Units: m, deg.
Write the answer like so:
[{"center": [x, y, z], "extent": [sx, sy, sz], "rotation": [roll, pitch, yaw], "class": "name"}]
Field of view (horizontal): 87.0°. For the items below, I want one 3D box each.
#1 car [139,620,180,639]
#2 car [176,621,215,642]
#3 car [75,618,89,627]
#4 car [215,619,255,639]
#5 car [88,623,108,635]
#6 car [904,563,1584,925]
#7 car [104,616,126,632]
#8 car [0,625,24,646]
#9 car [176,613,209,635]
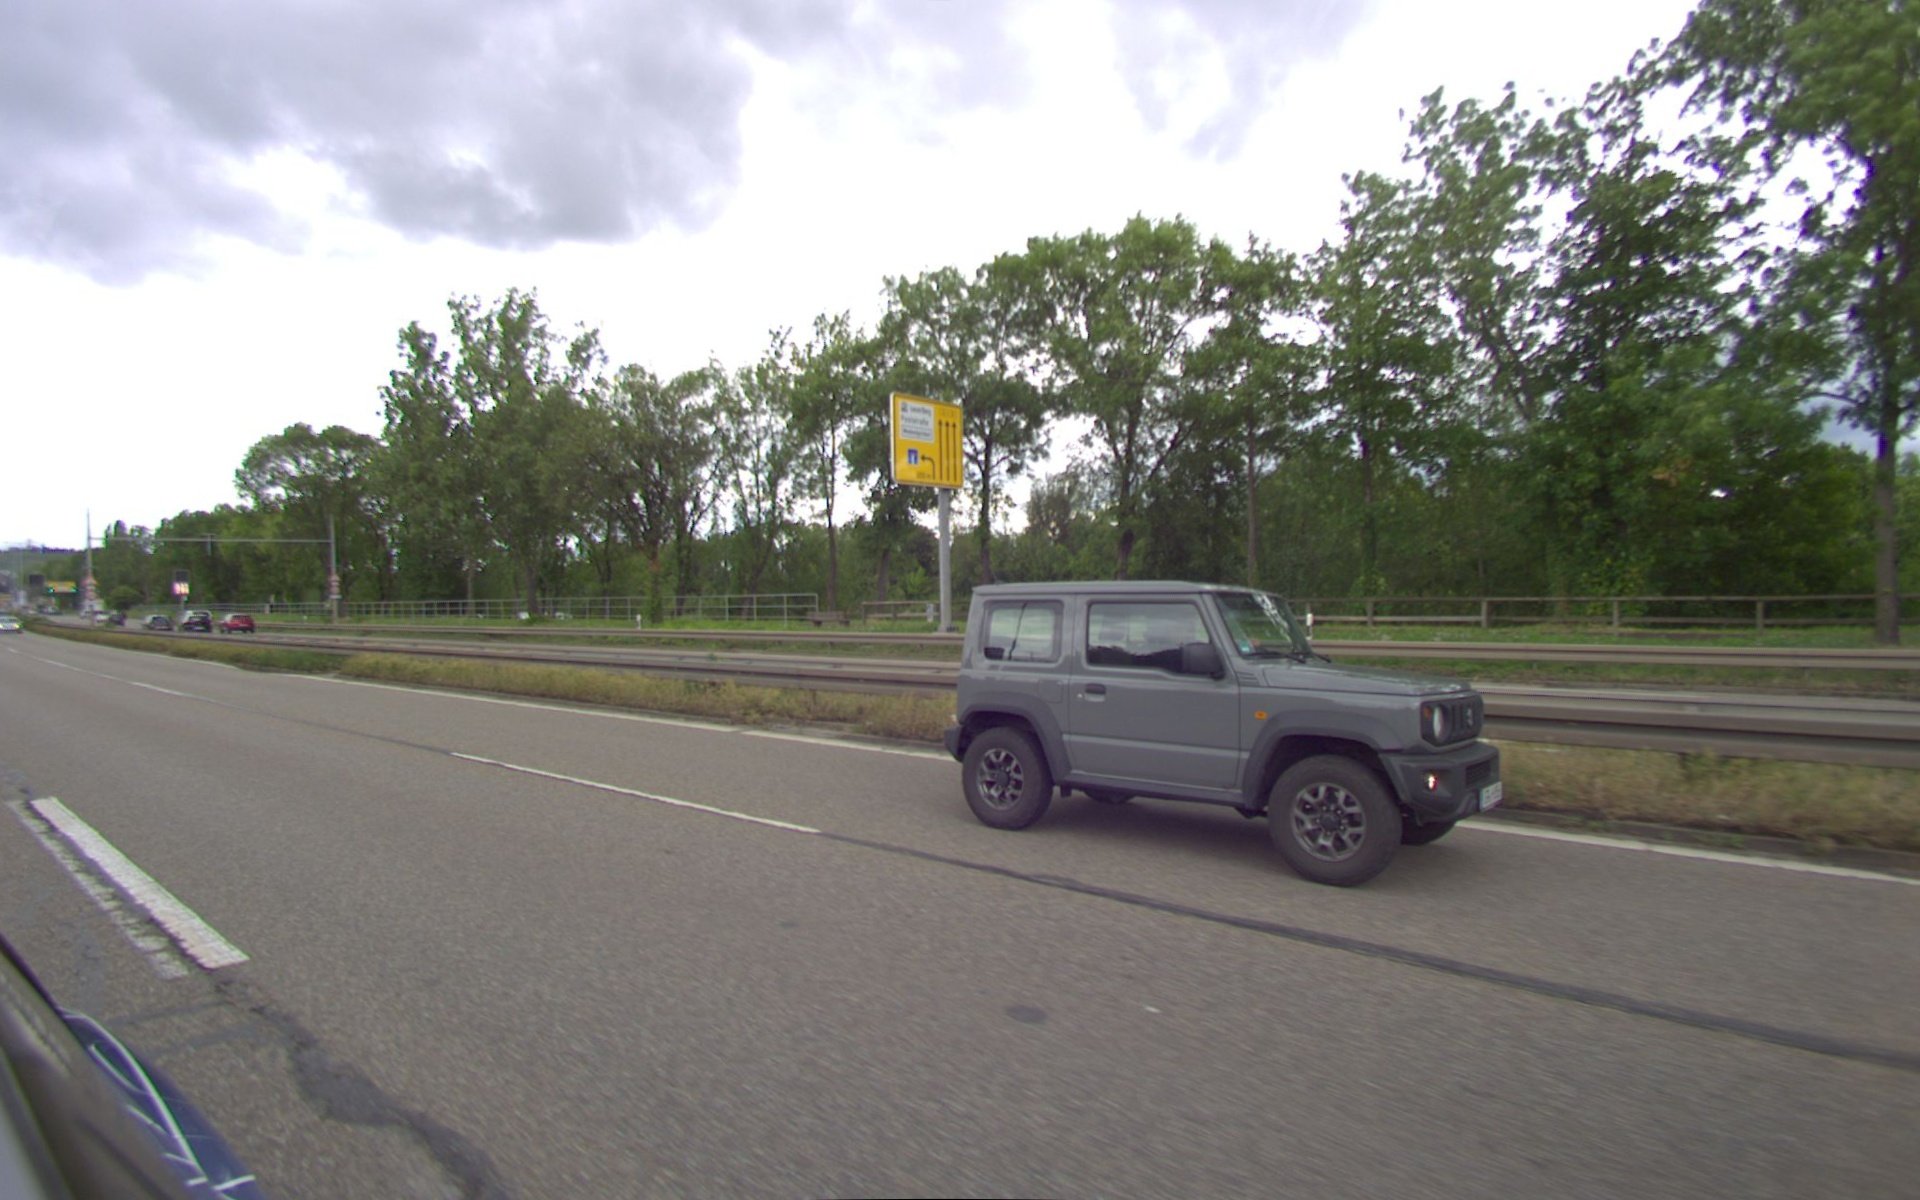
[{"center": [-67.031, 2.435, 84.707], "extent": [5.551, 1.476, 1.841], "rotation": [-1, -1, 43], "class": "car"}, {"center": [-55.259, 2.273, 73.137], "extent": [3.912, 1.435, 1.642], "rotation": [-1, -1, 43], "class": "car"}, {"center": [-158.105, 4.104, 182.186], "extent": [1.678, 1.617, 4.541], "rotation": [1, -2, -44], "class": "car"}, {"center": [-56.803, 2.243, 79.291], "extent": [4.381, 1.476, 1.699], "rotation": [-1, -1, 43], "class": "car"}, {"center": [-124.807, 4.207, 146.543], "extent": [4.720, 1.687, 1.846], "rotation": [-2, -1, 44], "class": "car"}, {"center": [1.659, 0.731, 6.695], "extent": [3.996, 1.699, 1.680], "rotation": [-2, -2, 40], "class": "car"}, {"center": [-100.328, 2.871, 120.169], "extent": [1.706, 1.788, 3.744], "rotation": [-1, -1, -45], "class": "car"}, {"center": [-82.835, 3.114, 88.036], "extent": [4.148, 1.738, 1.857], "rotation": [-2, 0, 45], "class": "car"}, {"center": [-68.326, 2.103, 90.060], "extent": [4.562, 1.898, 1.593], "rotation": [-1, -1, 43], "class": "car"}]
